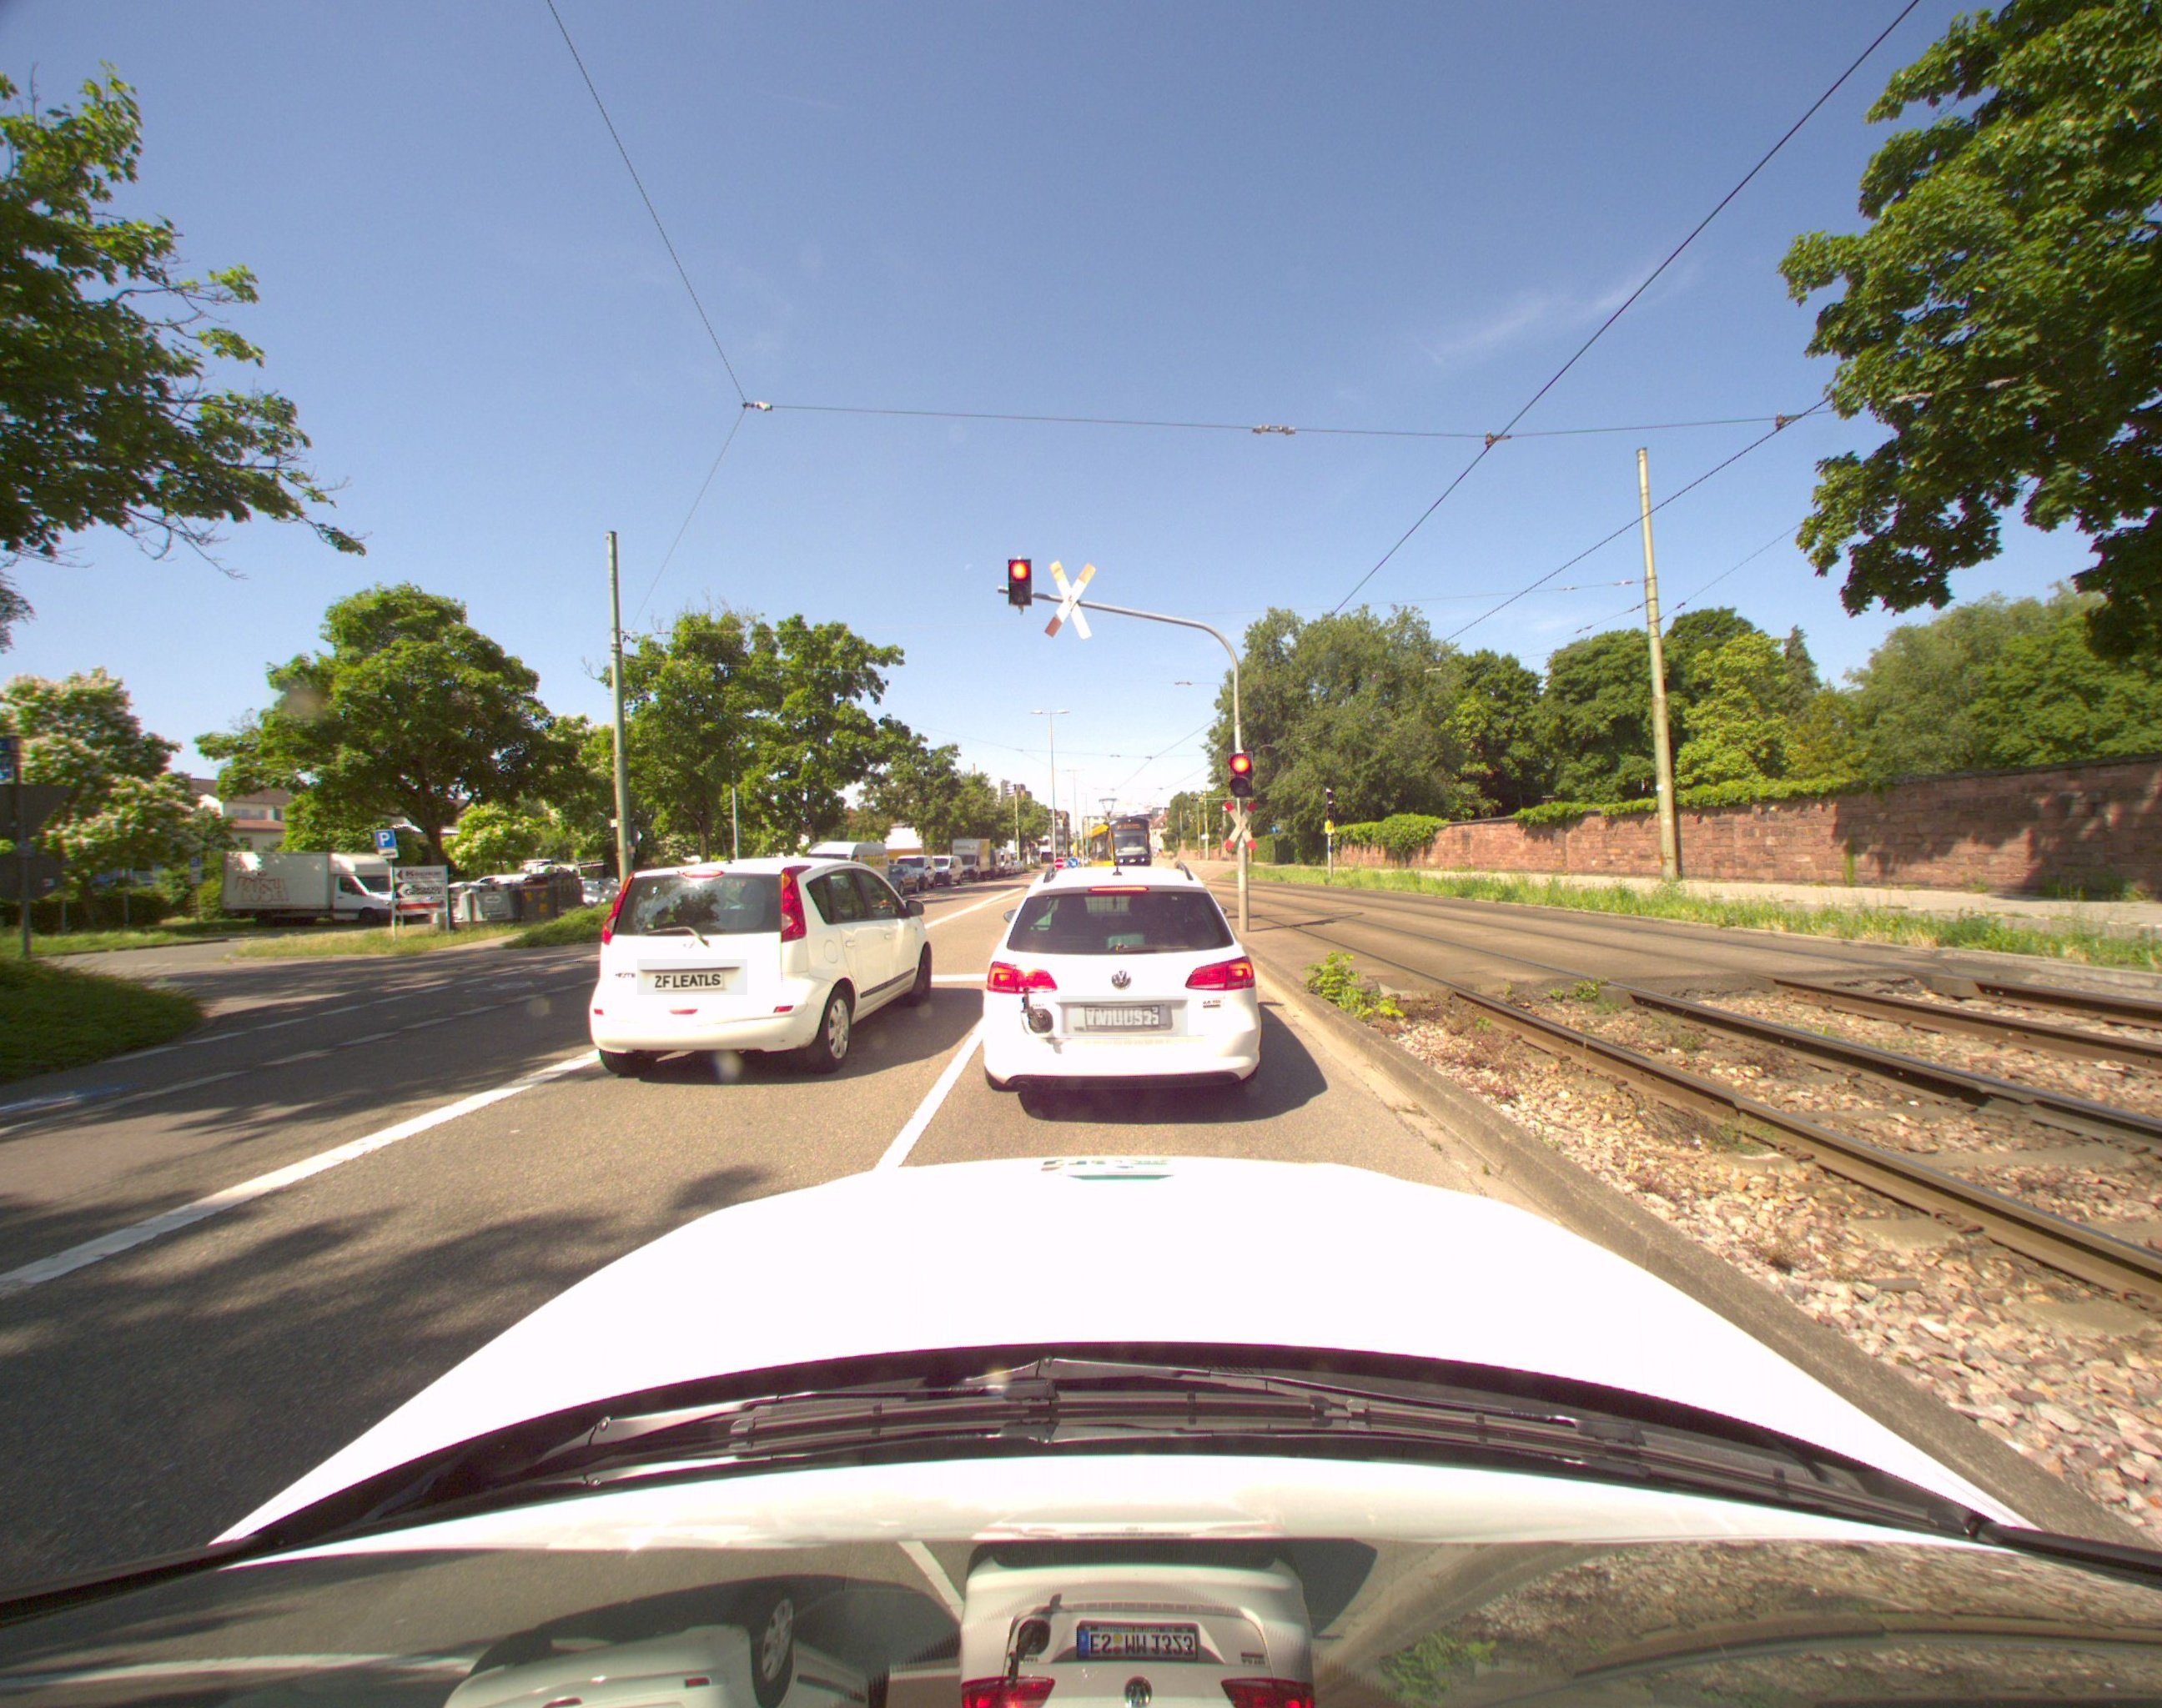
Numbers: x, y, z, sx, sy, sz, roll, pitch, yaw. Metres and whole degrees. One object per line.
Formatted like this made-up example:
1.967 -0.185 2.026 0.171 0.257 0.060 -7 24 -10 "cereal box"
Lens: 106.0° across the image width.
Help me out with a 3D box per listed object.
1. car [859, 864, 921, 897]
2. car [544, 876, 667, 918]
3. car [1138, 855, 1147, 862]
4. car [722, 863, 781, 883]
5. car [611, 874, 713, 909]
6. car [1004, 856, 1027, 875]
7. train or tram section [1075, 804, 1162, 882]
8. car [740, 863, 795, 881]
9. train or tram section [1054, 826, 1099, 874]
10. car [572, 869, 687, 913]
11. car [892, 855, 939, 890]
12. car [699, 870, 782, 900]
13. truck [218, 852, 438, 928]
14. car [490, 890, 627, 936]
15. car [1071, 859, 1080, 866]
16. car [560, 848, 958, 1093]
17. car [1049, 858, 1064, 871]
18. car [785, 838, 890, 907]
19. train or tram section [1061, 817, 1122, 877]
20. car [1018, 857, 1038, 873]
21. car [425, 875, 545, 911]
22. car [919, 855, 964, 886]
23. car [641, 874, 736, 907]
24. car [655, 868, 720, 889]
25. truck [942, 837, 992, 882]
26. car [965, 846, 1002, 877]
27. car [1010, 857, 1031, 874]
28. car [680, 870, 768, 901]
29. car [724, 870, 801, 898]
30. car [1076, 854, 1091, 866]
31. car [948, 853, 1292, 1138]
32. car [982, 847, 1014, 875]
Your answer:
-9.096 1.216 39.054 1.856 1.415 4.281 0 0 1 "car"
-19.677 1.762 33.853 3.977 1.415 1.729 -4 -1 -3 "car"
15.804 1.156 209.467 1.857 1.868 5.063 0 0 1 "car"
-31.490 1.811 77.959 4.780 1.787 2.062 0 -1 -3 "car"
-20.305 1.798 39.596 3.977 1.415 1.729 -4 -1 -3 "car"
-6.843 1.163 85.204 1.856 1.868 5.415 0 0 1 "car"
1.904 -0.541 48.102 2.868 3.855 12.359 -3 0 -7 "train or tram section"
-31.792 1.853 82.769 4.780 1.787 2.062 0 -1 -3 "car"
-0.533 -0.318 71.866 2.866 3.855 10.518 -3 0 -5 "train or tram section"
-19.926 1.621 36.060 3.977 1.610 1.729 -4 -1 -3 "car"
-9.201 0.985 45.623 1.859 1.868 5.068 0 0 -4 "car"
-19.620 1.760 47.057 3.977 1.415 1.729 -4 -1 -3 "car"
-32.380 1.513 35.198 6.979 3.110 2.677 0 0 0 "truck"
-19.908 2.227 31.160 3.977 1.415 1.729 -4 -1 -3 "car"
-1.225 1.872 182.537 1.698 1.473 4.593 -3 0 3 "car"
-2.431 0.753 7.534 1.655 1.547 4.550 -1 0 3 "car"
-3.161 1.342 104.343 1.670 1.553 3.580 -4 0 1 "car"
-9.589 0.680 32.668 2.114 2.516 5.822 0 0 3 "car"
0.553 -0.438 60.461 2.867 3.855 12.364 -3 0 -6 "train or tram section"
-6.412 1.349 98.934 1.856 1.868 5.415 0 0 1 "car"
-31.780 2.040 43.538 4.780 1.787 2.062 0 -1 -3 "car"
-8.882 1.005 52.263 1.856 1.868 5.415 0 0 1 "car"
-20.298 1.861 42.207 3.977 1.415 1.729 -4 -1 -3 "car"
-35.214 2.188 72.963 4.780 1.787 2.062 0 -1 -3 "car"
-8.389 0.406 60.684 2.411 3.150 7.001 0 0 2 "truck"
-8.163 0.610 68.683 2.114 2.516 5.737 0 0 2 "car"
-6.793 1.242 92.022 1.856 1.868 5.415 0 0 1 "car"
-19.549 1.715 44.723 3.977 1.415 1.729 -4 -1 -3 "car"
-19.474 1.814 49.873 3.977 1.415 1.729 -4 -1 -3 "car"
0.359 0.807 112.989 1.698 1.473 4.593 -3 0 3 "car"
0.267 0.750 6.313 1.756 1.430 4.002 -3 0 2 "car"
-7.723 0.670 76.114 2.114 2.516 5.737 0 0 2 "car"
